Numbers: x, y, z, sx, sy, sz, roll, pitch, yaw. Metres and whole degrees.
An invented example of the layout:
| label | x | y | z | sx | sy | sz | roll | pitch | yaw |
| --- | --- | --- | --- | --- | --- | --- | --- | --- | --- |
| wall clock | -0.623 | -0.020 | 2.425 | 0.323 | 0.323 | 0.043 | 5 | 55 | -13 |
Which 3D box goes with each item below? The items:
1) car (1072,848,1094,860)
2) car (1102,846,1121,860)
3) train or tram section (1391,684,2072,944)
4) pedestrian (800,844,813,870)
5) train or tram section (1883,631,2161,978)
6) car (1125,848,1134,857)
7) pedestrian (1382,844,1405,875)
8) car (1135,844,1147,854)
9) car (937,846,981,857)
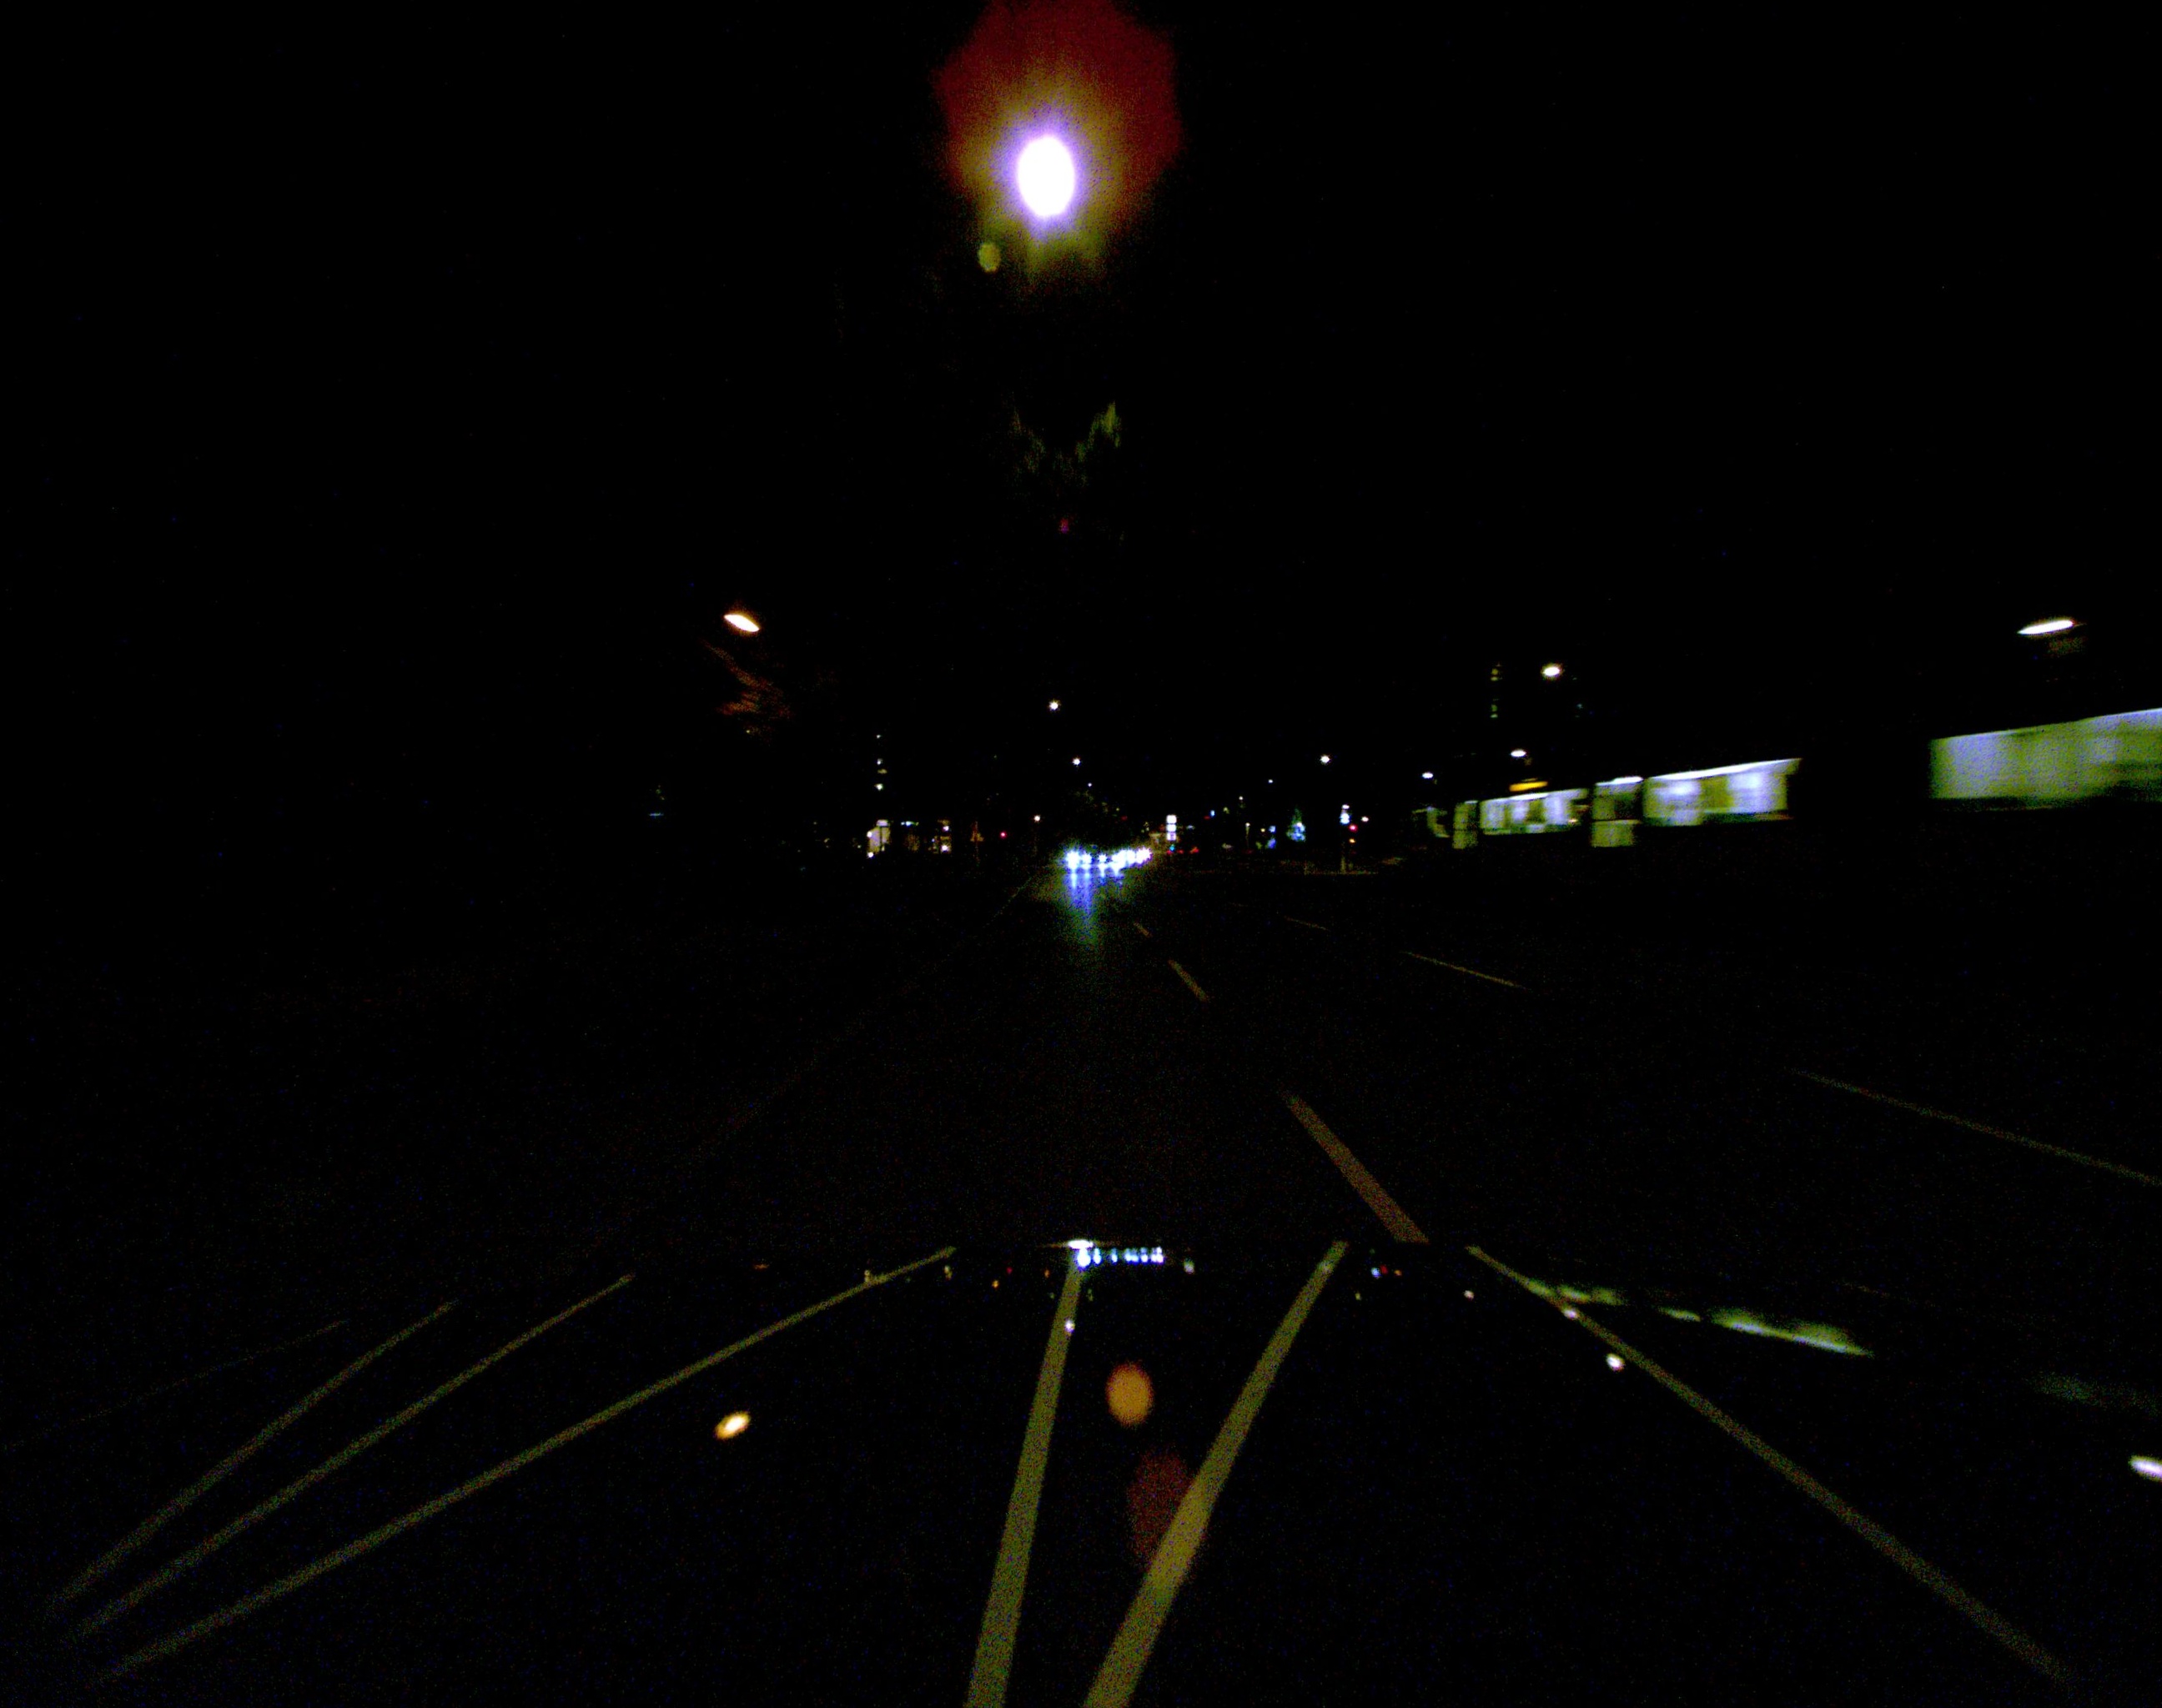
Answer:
| label | x | y | z | sx | sy | sz | roll | pitch | yaw |
| --- | --- | --- | --- | --- | --- | --- | --- | --- | --- |
| car | 0.271 | -0.053 | 85.447 | 1.947 | 1.299 | 3.907 | 1 | 1 | 7 |
| car | 3.458 | -0.127 | 85.606 | 1.858 | 1.482 | 3.560 | -1 | 0 | 7 |
| train or tram section | 13.650 | -0.679 | 21.024 | 2.745 | 3.824 | 19.363 | -1 | 1 | 2 |
| pedestrian | -20.219 | 0.211 | 55.942 | 0.664 | 1.866 | 0.731 | -1 | 1 | -2 |
| train or tram section | 13.115 | -0.512 | 1.959 | 2.765 | 3.805 | 18.669 | -1 | 0 | 1 |
| car | 10.559 | -0.315 | 163.798 | 1.827 | 1.696 | 4.001 | -1 | 1 | 4 |
| pedestrian | 17.158 | 0.286 | 41.712 | 0.820 | 1.678 | 1.056 | 1 | 1 | 1 |
| car | 10.202 | -0.795 | 129.558 | 1.908 | 1.609 | 3.718 | -1 | 1 | 2 |
| car | -11.687 | -0.246 | 72.890 | 4.008 | 1.028 | 1.480 | 1 | 0 | -40 |
